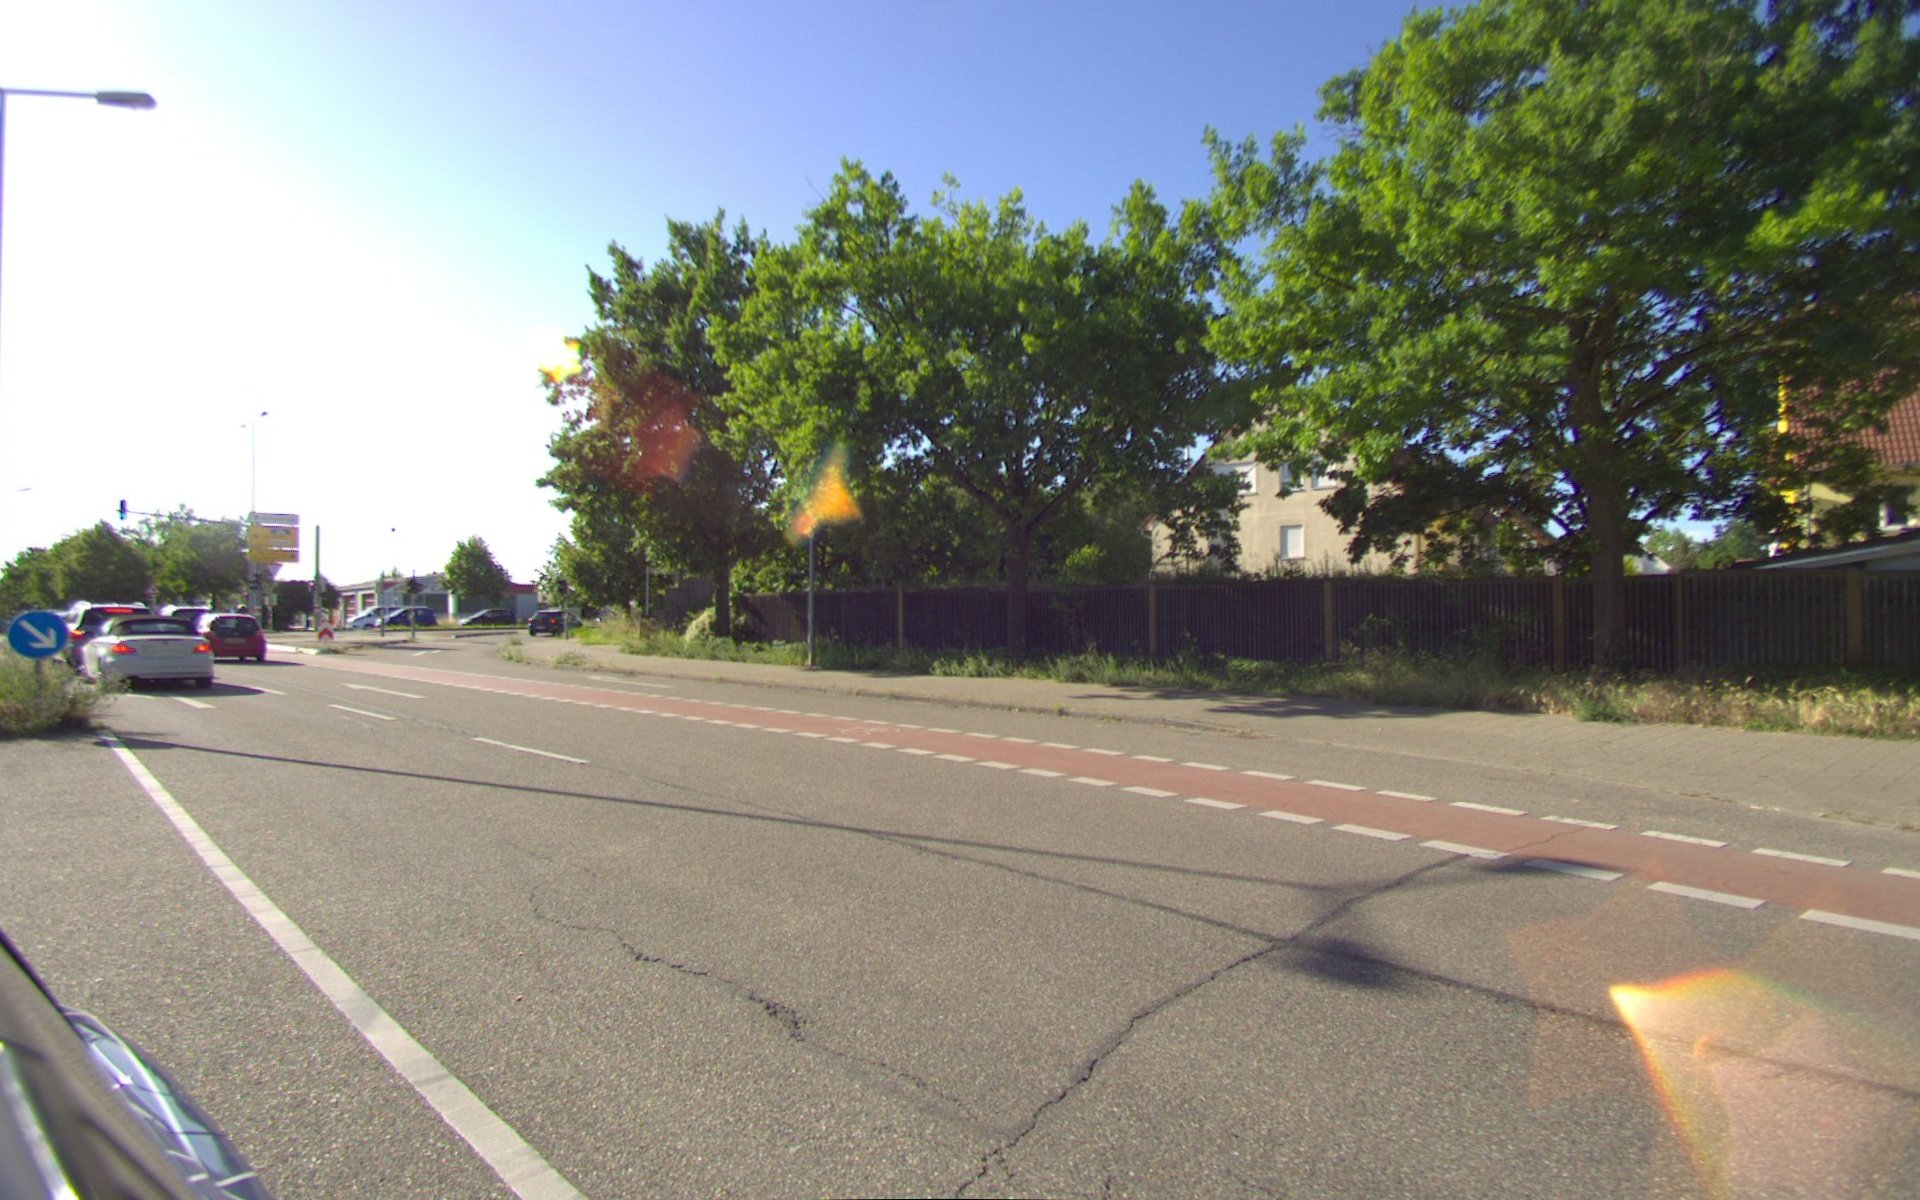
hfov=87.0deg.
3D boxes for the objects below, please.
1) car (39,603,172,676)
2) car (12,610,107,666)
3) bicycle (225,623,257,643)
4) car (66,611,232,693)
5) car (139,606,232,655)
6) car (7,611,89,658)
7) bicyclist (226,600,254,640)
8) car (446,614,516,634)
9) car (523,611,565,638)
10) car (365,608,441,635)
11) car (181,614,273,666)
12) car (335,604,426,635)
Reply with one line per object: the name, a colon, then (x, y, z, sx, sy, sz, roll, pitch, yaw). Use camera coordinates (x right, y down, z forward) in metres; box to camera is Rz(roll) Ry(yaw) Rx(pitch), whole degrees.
car: (-21.032, 0.927, 24.840, 4.530, 1.628, 1.971, -1, -2, 43)
car: (-25.916, 1.072, 29.091, 3.889, 1.494, 1.727, -1, -2, 44)
bicycle: (-30.977, 1.406, 43.588, 1.990, 0.854, 0.740, -1, -1, 43)
car: (-16.303, 0.976, 20.267, 4.399, 1.461, 1.971, -1, -2, 43)
car: (-27.703, 1.073, 36.143, 4.531, 1.656, 1.971, -1, -2, 44)
car: (-31.513, 1.150, 34.918, 4.531, 1.517, 1.773, -1, -2, 44)
bicyclist: (-31.071, 0.851, 43.690, 1.242, 1.715, 0.736, -1, -2, 43)
car: (-33.141, 1.690, 70.117, 1.891, 1.284, 3.986, -4, -3, 39)
car: (-23.529, 1.405, 57.306, 1.686, 1.442, 4.011, 2, -2, -15)
car: (-36.263, 1.426, 65.940, 1.891, 1.657, 3.986, -4, -4, 39)
car: (-22.350, 1.178, 30.814, 3.714, 1.494, 1.627, -1, -2, 44)
car: (-40.853, 1.409, 71.445, 2.046, 2.029, 5.206, -4, -4, 39)
